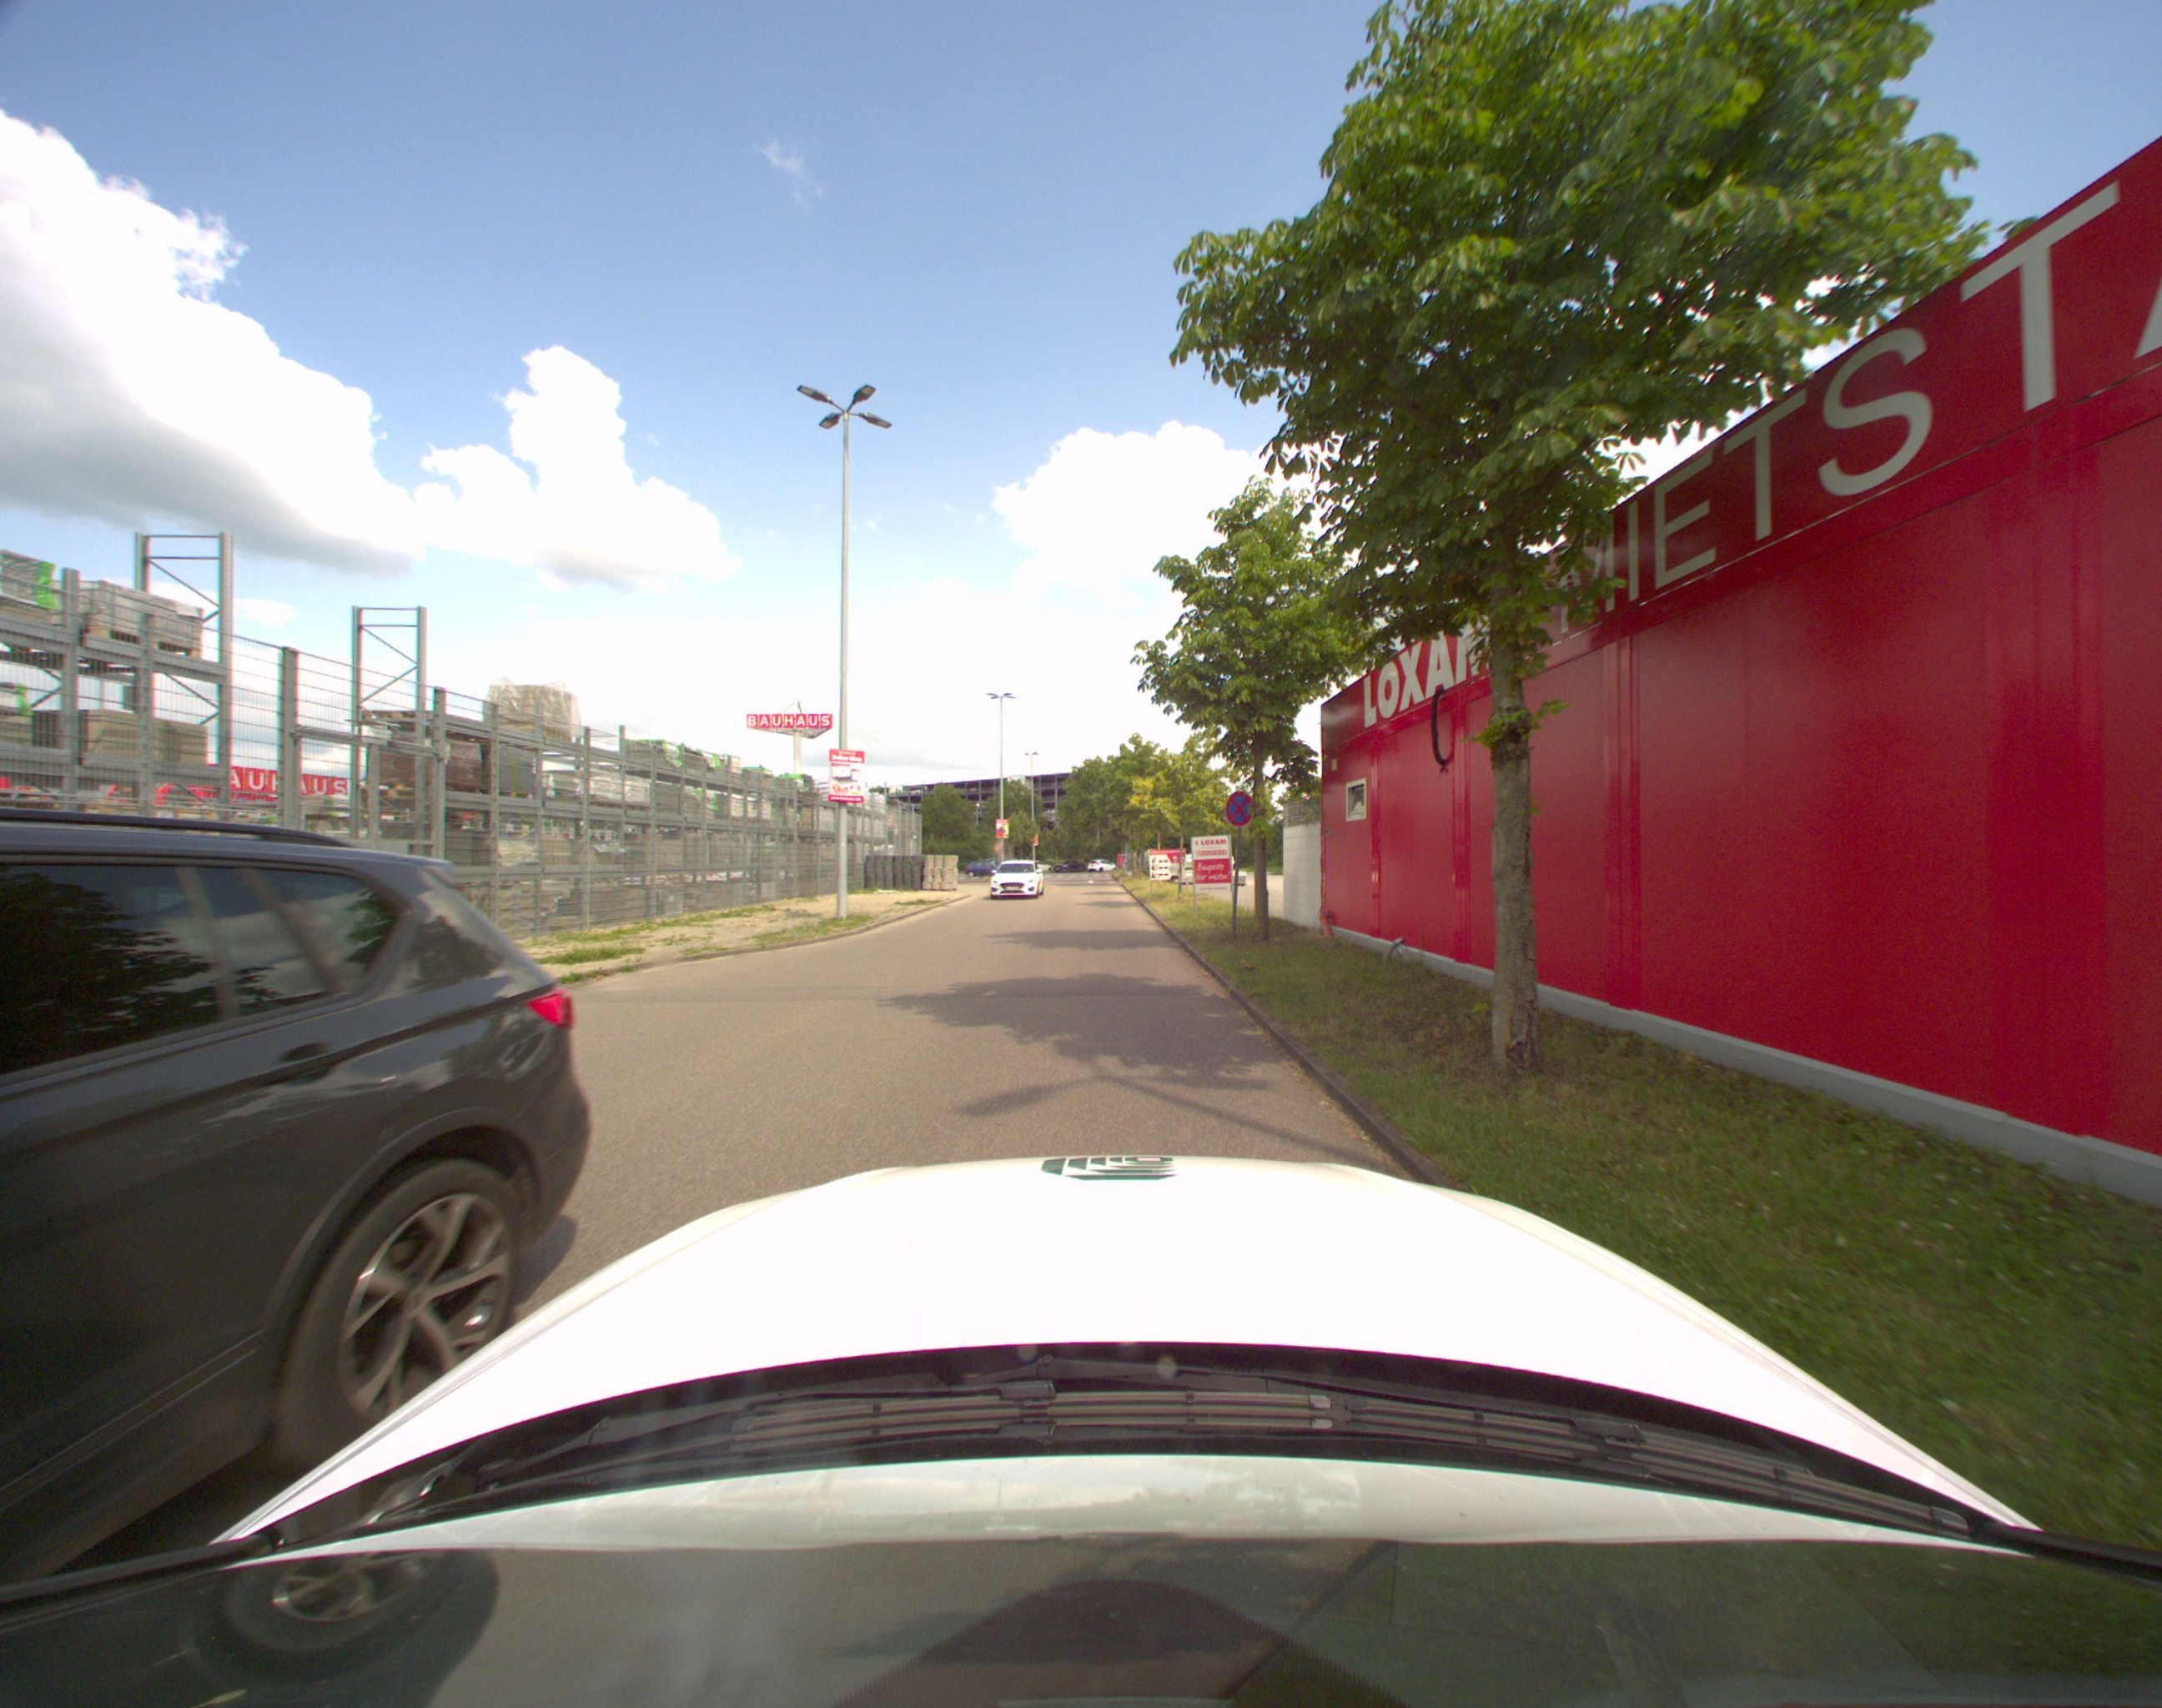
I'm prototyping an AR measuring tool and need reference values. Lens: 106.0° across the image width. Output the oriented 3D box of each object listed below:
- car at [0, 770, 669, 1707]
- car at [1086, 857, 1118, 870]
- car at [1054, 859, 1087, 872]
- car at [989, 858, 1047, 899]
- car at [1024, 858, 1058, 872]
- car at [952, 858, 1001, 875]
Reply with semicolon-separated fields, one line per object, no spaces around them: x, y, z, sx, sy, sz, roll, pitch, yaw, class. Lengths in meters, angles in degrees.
-2.690;0.694;1.085;1.908;1.618;4.376;-1;0;2;car
2.388;1.059;91.250;1.649;1.411;3.580;-1;-1;40;car
-1.183;1.344;94.137;1.711;1.410;4.270;-1;-1;35;car
-2.404;0.908;32.011;1.797;1.464;4.330;0;0;1;car
-4.773;1.322;97.364;1.668;1.510;4.107;-7;-4;38;car
-8.538;0.992;66.742;3.738;1.368;1.621;0;0;0;car
